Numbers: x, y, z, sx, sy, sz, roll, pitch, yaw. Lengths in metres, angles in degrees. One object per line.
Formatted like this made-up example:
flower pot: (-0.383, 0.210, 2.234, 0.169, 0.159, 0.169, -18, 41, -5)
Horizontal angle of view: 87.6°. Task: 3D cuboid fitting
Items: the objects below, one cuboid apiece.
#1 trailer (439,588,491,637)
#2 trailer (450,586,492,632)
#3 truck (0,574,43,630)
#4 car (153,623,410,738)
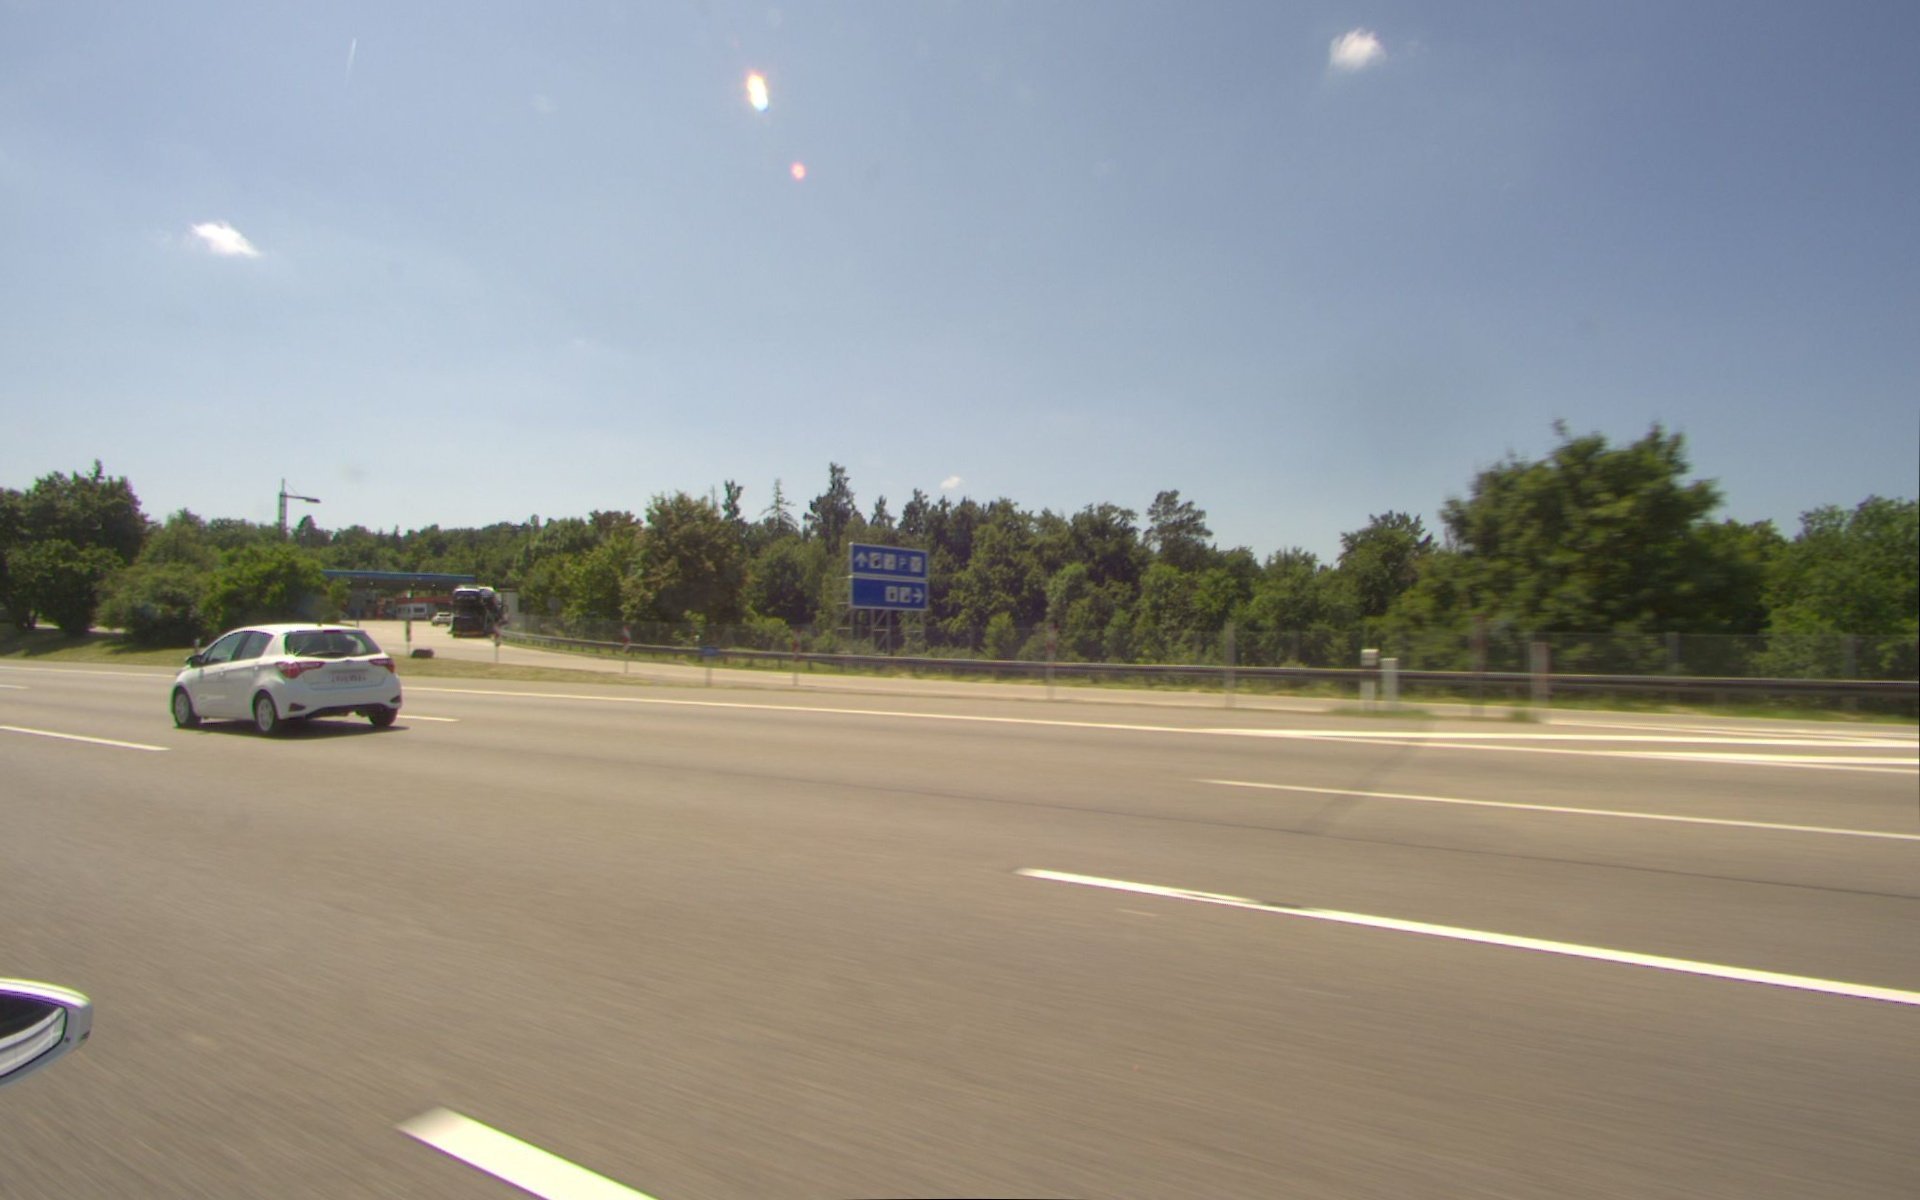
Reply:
trailer: (-40.669, 0.991, 82.588, 3.118, 3.685, 13.572, 0, 0, -23)
trailer: (-43.387, 0.801, 88.988, 3.040, 3.951, 5.942, 0, 0, -23)
truck: (-89.225, 0.289, 92.087, 14.484, 4.892, 3.321, -1, -1, 32)
car: (-9.977, 1.074, 14.631, 4.316, 1.452, 1.662, -1, -1, 34)
